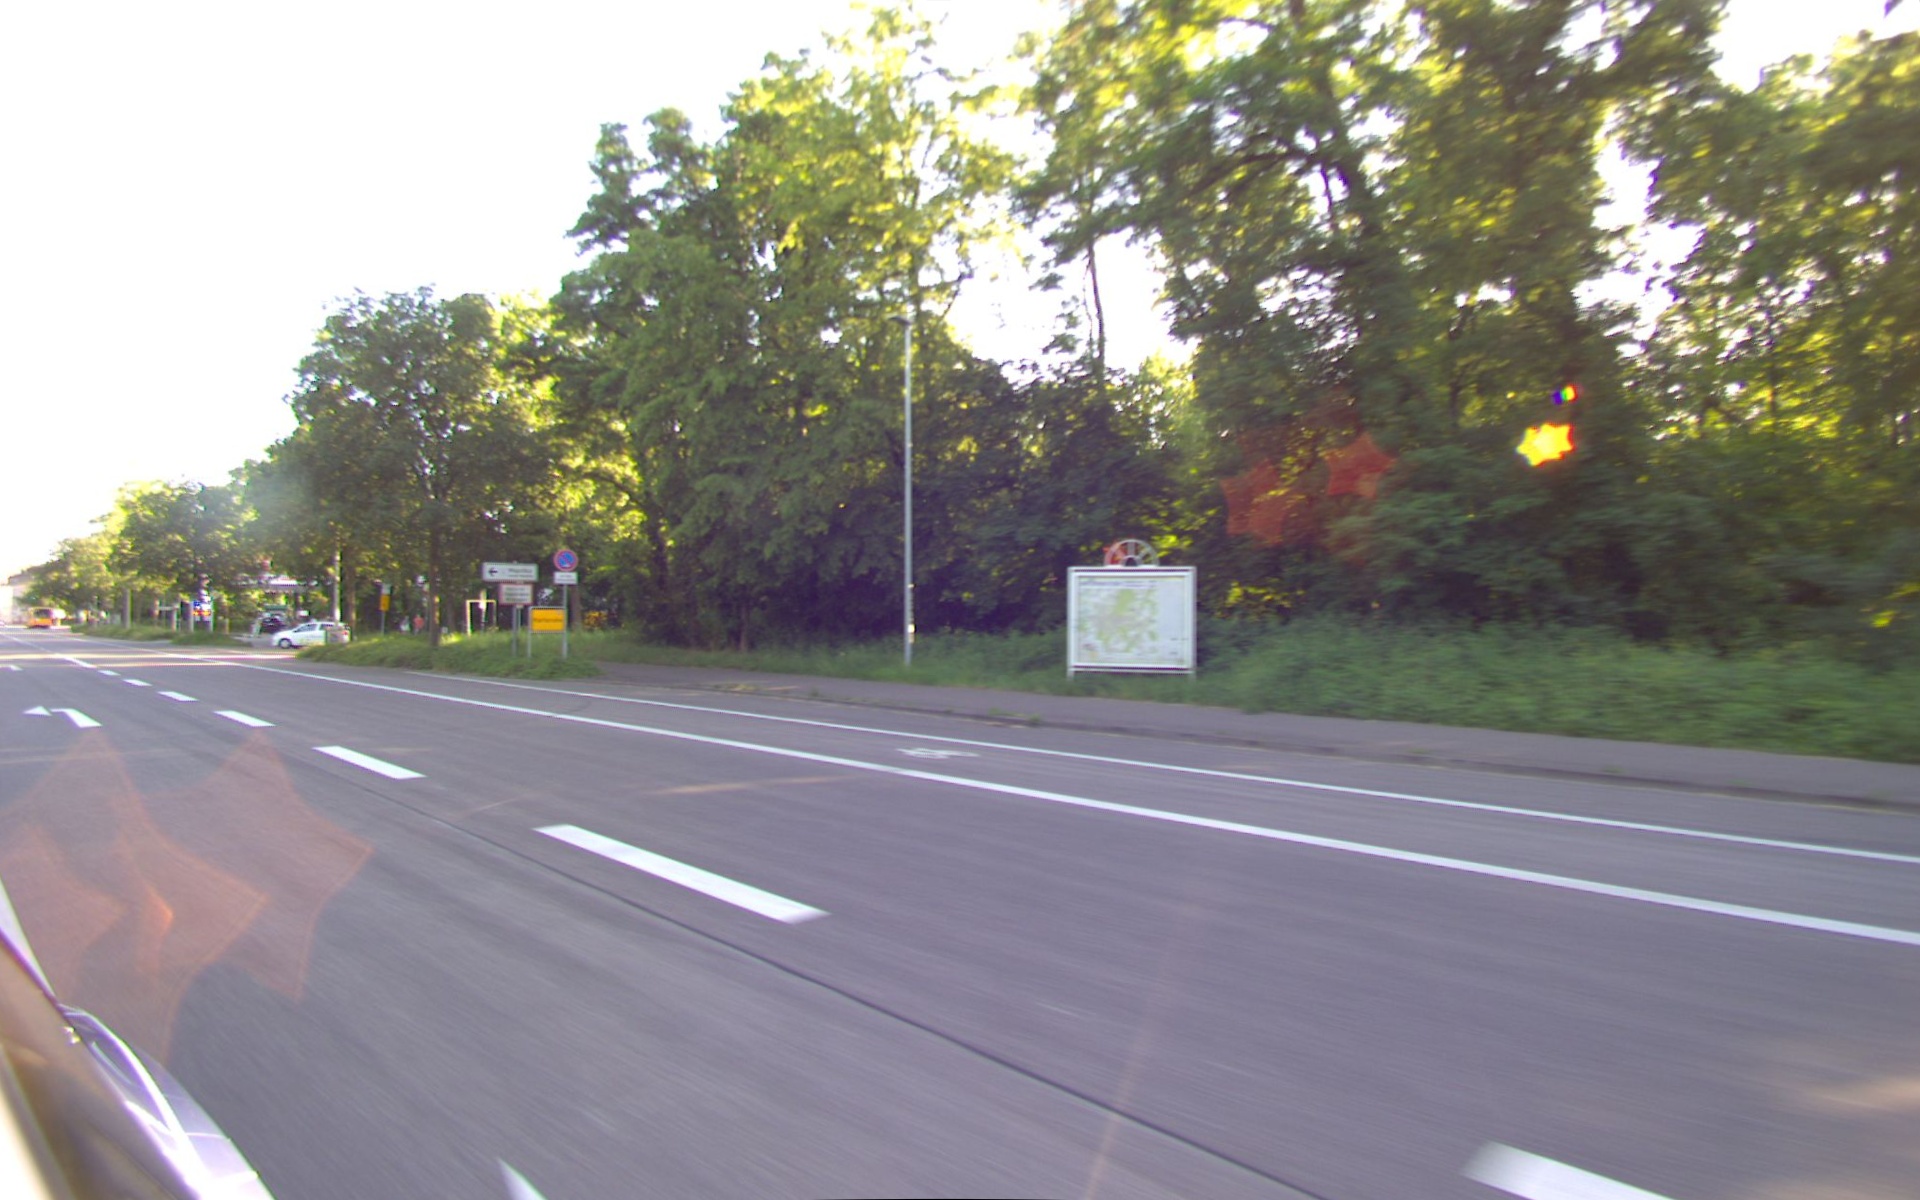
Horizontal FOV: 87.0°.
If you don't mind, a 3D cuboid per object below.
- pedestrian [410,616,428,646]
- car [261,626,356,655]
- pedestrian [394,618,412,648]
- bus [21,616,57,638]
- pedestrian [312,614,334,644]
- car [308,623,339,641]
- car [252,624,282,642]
[{"bbox_3d":[-33.616,1.946,62.867,0.820,1.833,0.738,0,-2,-16],"label":"pedestrian"},{"bbox_3d":[-34.821,2.154,54.216,3.878,1.537,1.835,0,-2,-13],"label":"car"},{"bbox_3d":[-34.703,2.064,63.099,0.820,1.833,0.738,0,-2,-16],"label":"pedestrian"},{"bbox_3d":[-148.803,4.294,163.472,9.473,3.434,2.999,-1,-2,40],"label":"bus"},{"bbox_3d":[-39.365,1.817,62.531,0.825,1.833,0.735,0,-2,8],"label":"pedestrian"},{"bbox_3d":[-58.996,2.945,93.786,1.733,1.653,3.840,2,-2,-44],"label":"car"},{"bbox_3d":[-64.400,3.029,94.078,1.733,1.653,3.615,2,-2,-44],"label":"car"}]
